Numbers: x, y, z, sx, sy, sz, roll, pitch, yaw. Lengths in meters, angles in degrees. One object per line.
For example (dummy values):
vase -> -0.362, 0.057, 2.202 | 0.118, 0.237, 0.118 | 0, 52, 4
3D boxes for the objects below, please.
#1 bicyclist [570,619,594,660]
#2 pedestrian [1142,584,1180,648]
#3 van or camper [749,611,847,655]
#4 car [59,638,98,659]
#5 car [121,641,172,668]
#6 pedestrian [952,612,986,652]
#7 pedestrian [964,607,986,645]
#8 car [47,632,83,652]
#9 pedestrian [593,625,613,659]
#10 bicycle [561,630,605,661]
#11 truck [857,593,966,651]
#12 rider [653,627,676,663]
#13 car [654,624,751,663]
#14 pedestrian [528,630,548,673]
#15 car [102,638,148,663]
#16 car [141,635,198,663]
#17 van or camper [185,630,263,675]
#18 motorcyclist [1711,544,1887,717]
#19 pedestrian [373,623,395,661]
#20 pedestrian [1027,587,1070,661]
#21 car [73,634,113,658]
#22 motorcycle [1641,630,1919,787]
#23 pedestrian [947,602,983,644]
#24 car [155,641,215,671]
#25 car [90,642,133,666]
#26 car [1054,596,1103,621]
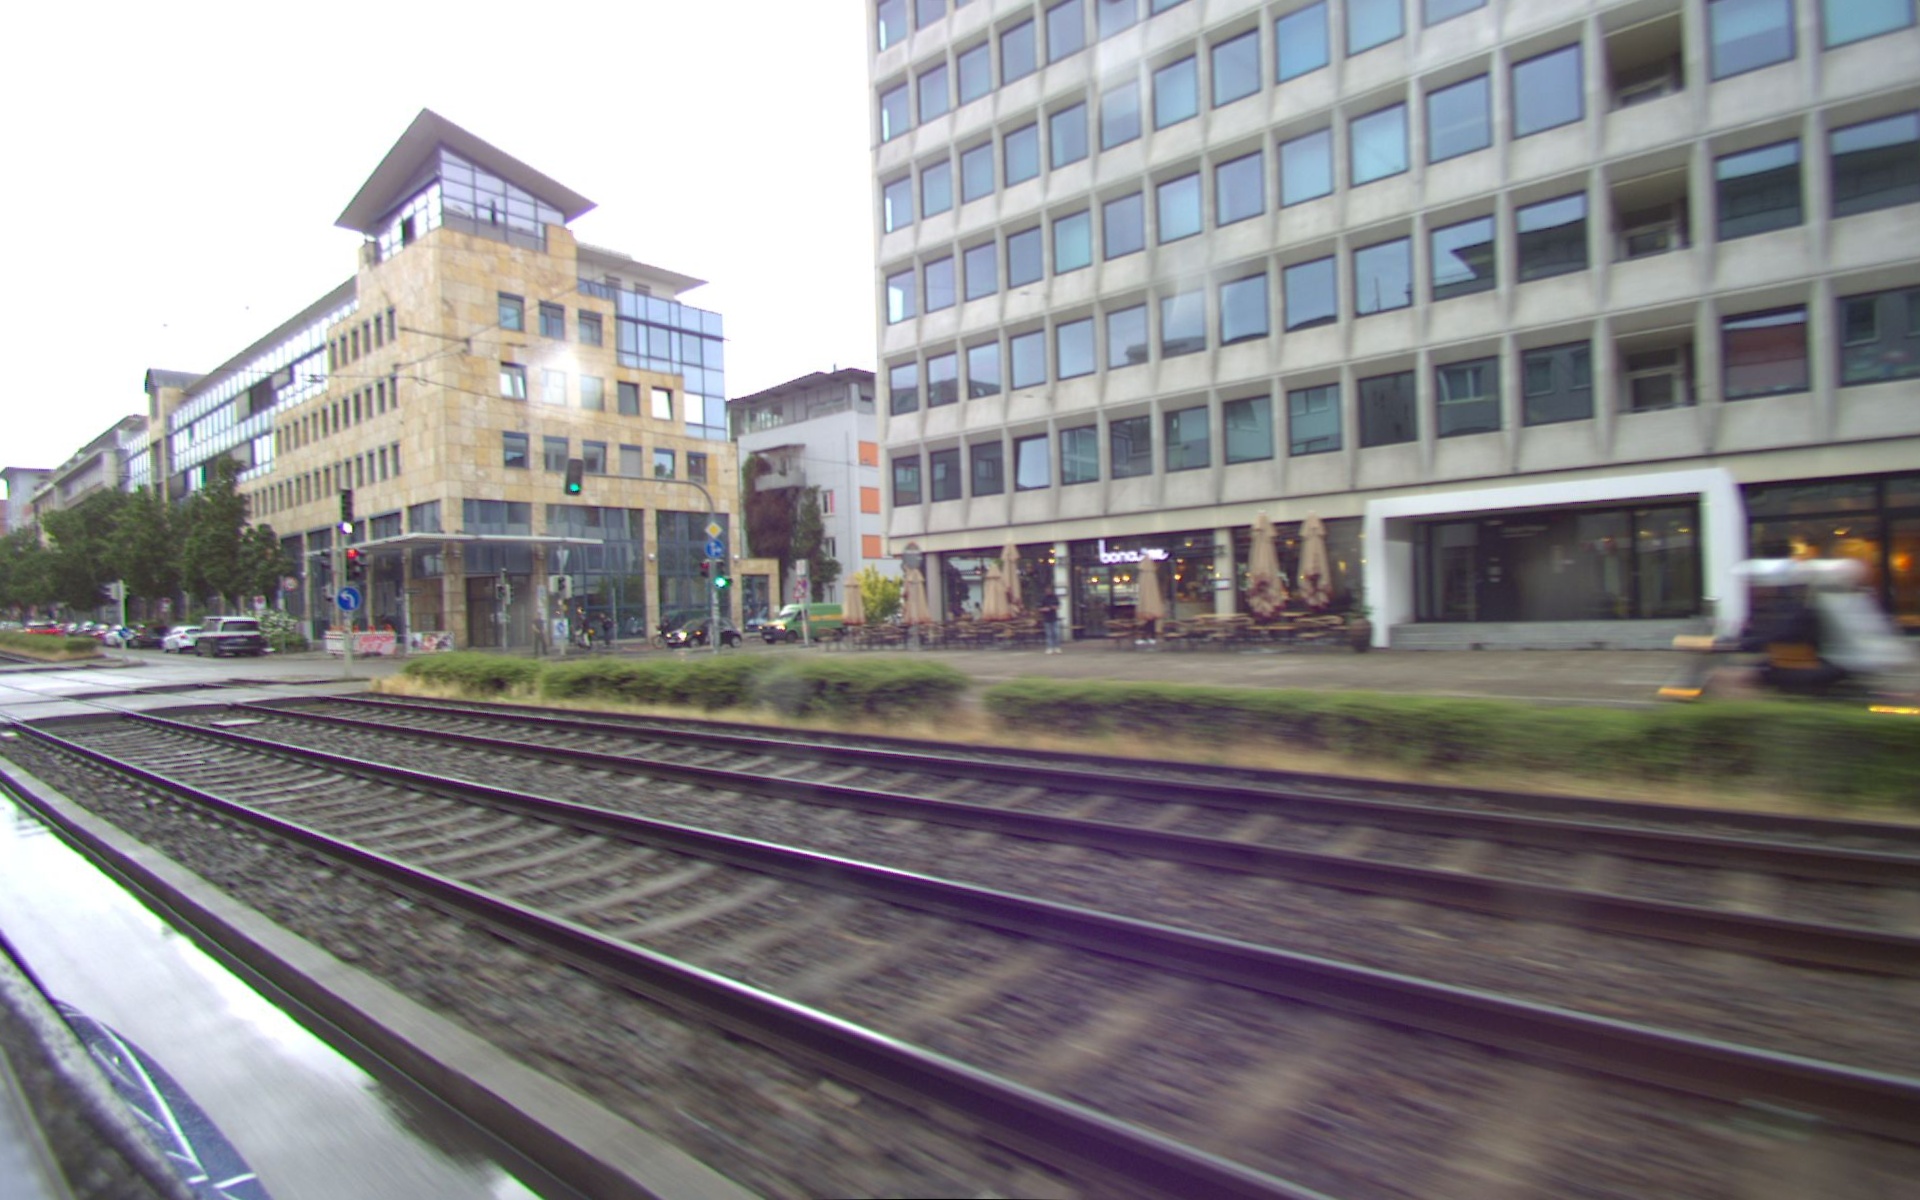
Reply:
bicyclist -> -17.335, 1.815, 46.435 | 0.783, 1.818, 0.701 | -3, -1, 40
pedestrian -> 5.663, 0.449, 28.537 | 0.843, 1.762, 0.559 | -3, 0, 36
van or camper -> -8.711, 1.761, 54.843 | 2.095, 2.077, 5.032 | -3, -1, 40
car -> -67.142, 3.672, 77.036 | 4.619, 1.552, 1.632 | -2, -1, 41
car -> -50.128, 3.346, 62.355 | 3.996, 1.497, 1.672 | -3, -1, 40
pedestrian -> 0.358, 1.261, 39.942 | 0.896, 1.544, 0.952 | -3, -1, 39
pedestrian -> 0.542, 0.925, 36.229 | 0.553, 1.332, 0.517 | -2, 0, 41
car -> -71.548, 3.350, 80.864 | 4.619, 1.552, 1.632 | -2, -1, 41
pedestrian -> -17.915, 2.108, 50.760 | 0.703, 1.648, 0.573 | -3, 0, 41
bicycle -> -17.303, 2.065, 46.473 | 0.659, 1.321, 1.746 | -3, -1, 40
truck -> -2.832, 1.290, 61.704 | 2.459, 3.188, 7.079 | -3, -1, 39
rider -> -14.573, 2.220, 49.915 | 0.783, 1.688, 0.701 | -3, -1, 40
car -> -11.841, 1.977, 46.671 | 1.890, 1.541, 3.945 | -3, -1, 41
pedestrian -> -18.222, 2.227, 43.698 | 0.667, 1.794, 0.705 | -2, -1, -15
car -> -54.040, 3.253, 65.459 | 4.190, 1.509, 1.632 | -2, -1, 41
car -> -46.511, 2.904, 59.506 | 4.291, 1.497, 1.672 | -3, -1, 39
van or camper -> -36.710, 2.563, 50.422 | 5.195, 2.012, 1.996 | -1, 1, 41
motorcyclist -> 6.434, 0.218, 7.771 | 0.970, 1.226, 0.734 | -2, 0, 42
pedestrian -> -27.861, 2.034, 48.956 | 0.679, 1.828, 0.693 | -3, -1, 43
pedestrian -> 2.207, 0.601, 25.332 | 0.843, 1.836, 0.559 | -3, 0, 36
car -> -62.389, 3.266, 72.792 | 4.291, 1.613, 1.632 | -2, -1, 41
motorcycle -> 6.460, 0.782, 7.776 | 1.931, 1.067, 0.734 | -2, 0, 43
pedestrian -> 0.184, 0.884, 38.425 | 0.964, 1.544, 0.885 | -3, -1, 39
car -> -42.435, 3.044, 55.369 | 4.251, 1.497, 1.672 | -3, -1, 40
car -> -57.949, 3.638, 69.084 | 4.291, 1.509, 1.632 | -2, -1, 41
car -> 9.771, 0.703, 83.601 | 1.966, 1.940, 4.012 | -2, 0, -31
